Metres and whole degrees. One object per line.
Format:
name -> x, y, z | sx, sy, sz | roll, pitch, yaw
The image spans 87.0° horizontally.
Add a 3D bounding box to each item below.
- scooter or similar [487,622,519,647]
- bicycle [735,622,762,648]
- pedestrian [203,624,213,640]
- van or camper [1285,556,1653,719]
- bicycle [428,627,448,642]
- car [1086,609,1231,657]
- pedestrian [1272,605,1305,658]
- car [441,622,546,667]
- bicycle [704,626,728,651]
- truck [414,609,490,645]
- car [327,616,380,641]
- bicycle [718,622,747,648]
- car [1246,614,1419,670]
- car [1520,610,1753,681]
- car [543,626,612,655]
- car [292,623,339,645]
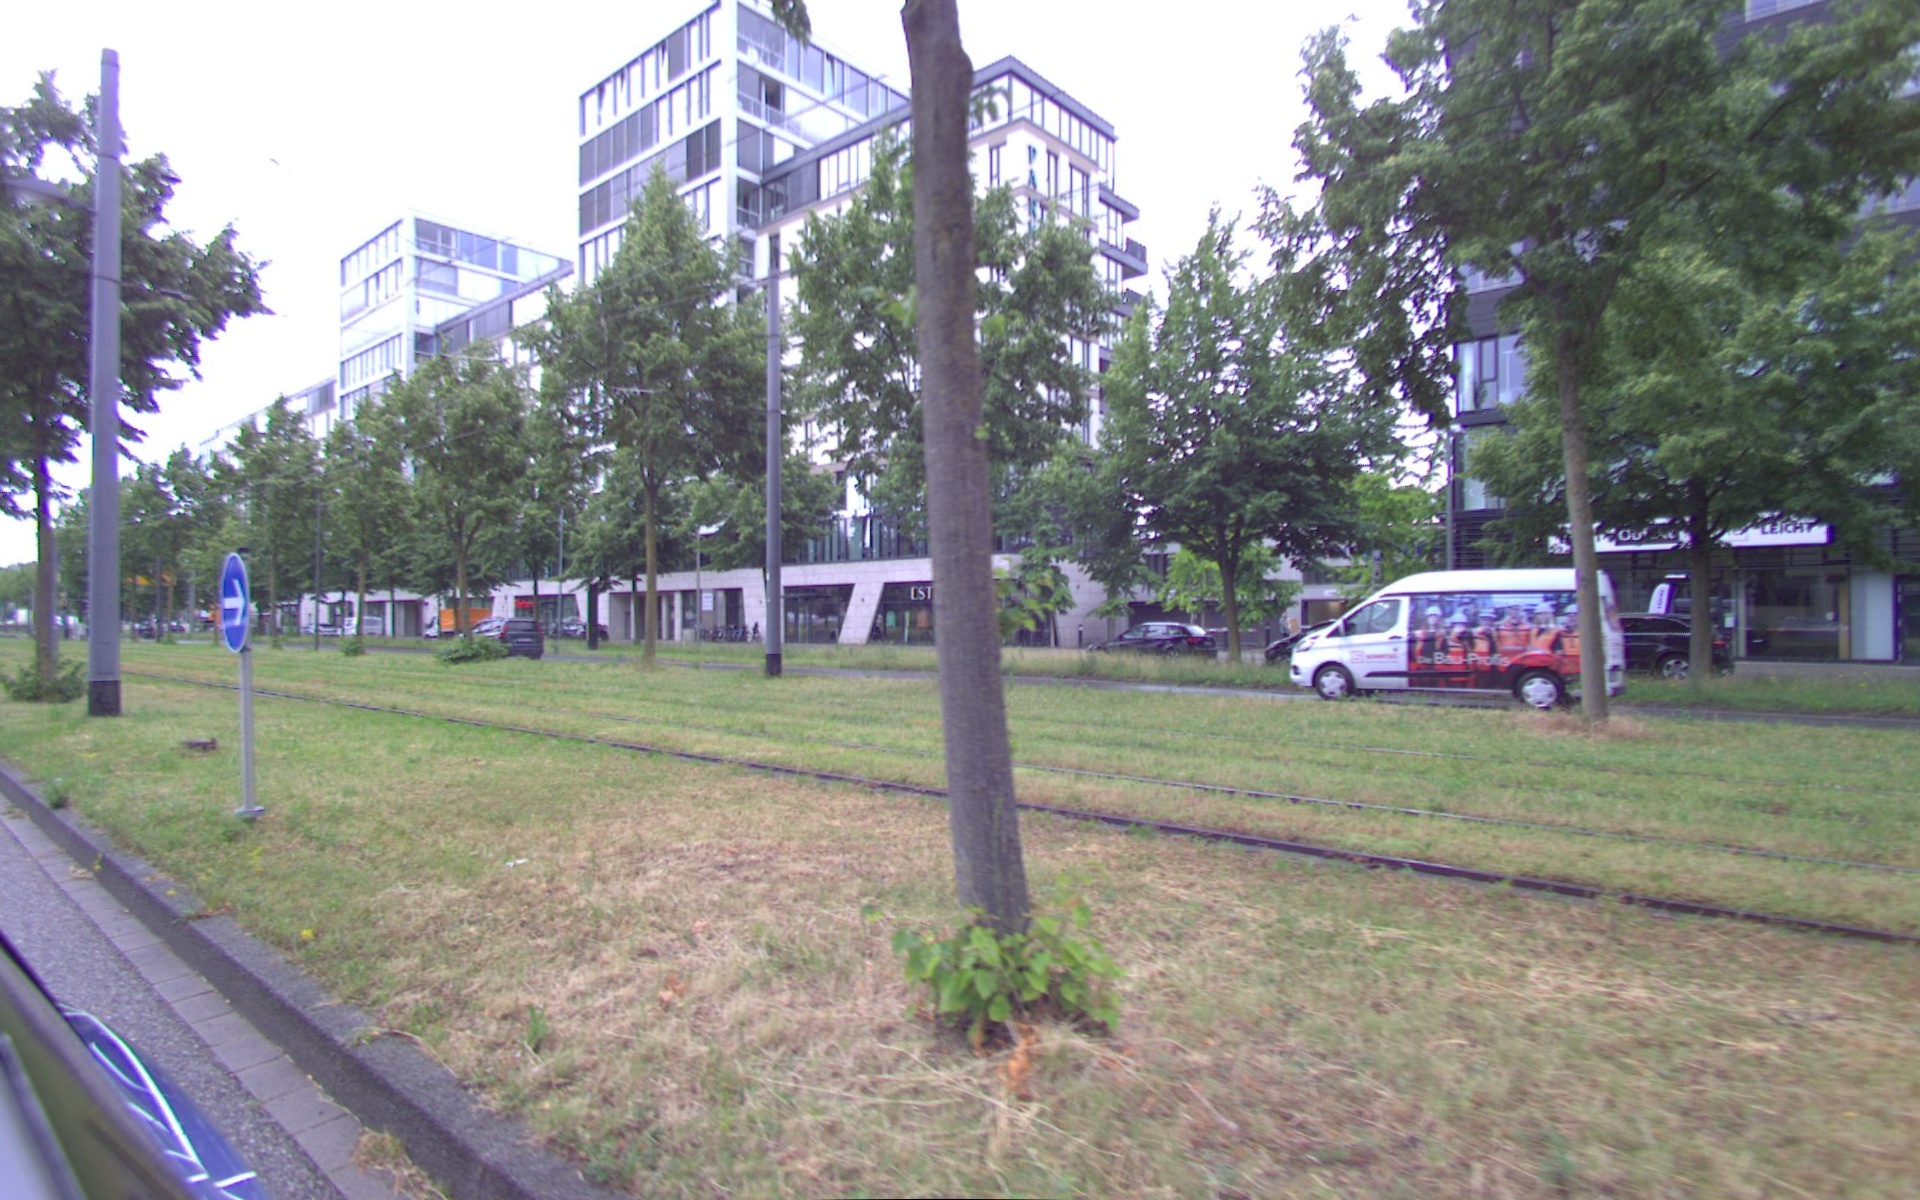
scooter or similar -> -34.732, 2.631, 76.920 | 0.883, 1.838, 2.105 | -1, -1, 37
bicycle -> -12.677, 2.094, 60.657 | 0.606, 1.550, 1.552 | -1, -1, 40
pedestrian -> -81.399, 3.512, 109.572 | 0.793, 1.704, 0.703 | -2, -1, 44
van or camper -> 8.646, 0.613, 17.583 | 5.400, 2.429, 1.889 | -1, -1, 42
bicycle -> -32.779, 2.169, 63.563 | 1.758, 0.952, 0.592 | -1, -2, 45
car -> 6.157, 0.994, 31.540 | 3.998, 1.389, 1.973 | -1, -1, 41
pedestrian -> 12.467, 1.188, 38.429 | 0.784, 1.996, 0.857 | 0, -1, -41
car -> -17.091, 1.599, 36.997 | 4.477, 1.536, 1.843 | -1, -1, 42
bicycle -> -15.056, 2.376, 62.521 | 0.546, 1.494, 1.417 | -1, -1, 40
truck -> -34.078, 1.809, 67.796 | 6.305, 2.309, 2.401 | -1, -1, 41
car -> -47.034, 2.185, 78.475 | 5.161, 1.866, 1.973 | -1, -1, 40
bicycle -> -13.758, 2.118, 61.257 | 0.680, 1.550, 1.686 | -1, -1, 40
car -> 10.107, 1.114, 27.628 | 3.998, 1.389, 1.973 | -1, -1, 41
car -> 15.402, 0.996, 23.165 | 4.239, 1.460, 1.684 | -1, -1, 41
car -> -20.929, 2.179, 55.289 | 3.986, 1.476, 1.836 | -1, -1, 41
car -> -53.481, 2.806, 83.979 | 4.461, 1.725, 2.122 | -1, -1, 41
